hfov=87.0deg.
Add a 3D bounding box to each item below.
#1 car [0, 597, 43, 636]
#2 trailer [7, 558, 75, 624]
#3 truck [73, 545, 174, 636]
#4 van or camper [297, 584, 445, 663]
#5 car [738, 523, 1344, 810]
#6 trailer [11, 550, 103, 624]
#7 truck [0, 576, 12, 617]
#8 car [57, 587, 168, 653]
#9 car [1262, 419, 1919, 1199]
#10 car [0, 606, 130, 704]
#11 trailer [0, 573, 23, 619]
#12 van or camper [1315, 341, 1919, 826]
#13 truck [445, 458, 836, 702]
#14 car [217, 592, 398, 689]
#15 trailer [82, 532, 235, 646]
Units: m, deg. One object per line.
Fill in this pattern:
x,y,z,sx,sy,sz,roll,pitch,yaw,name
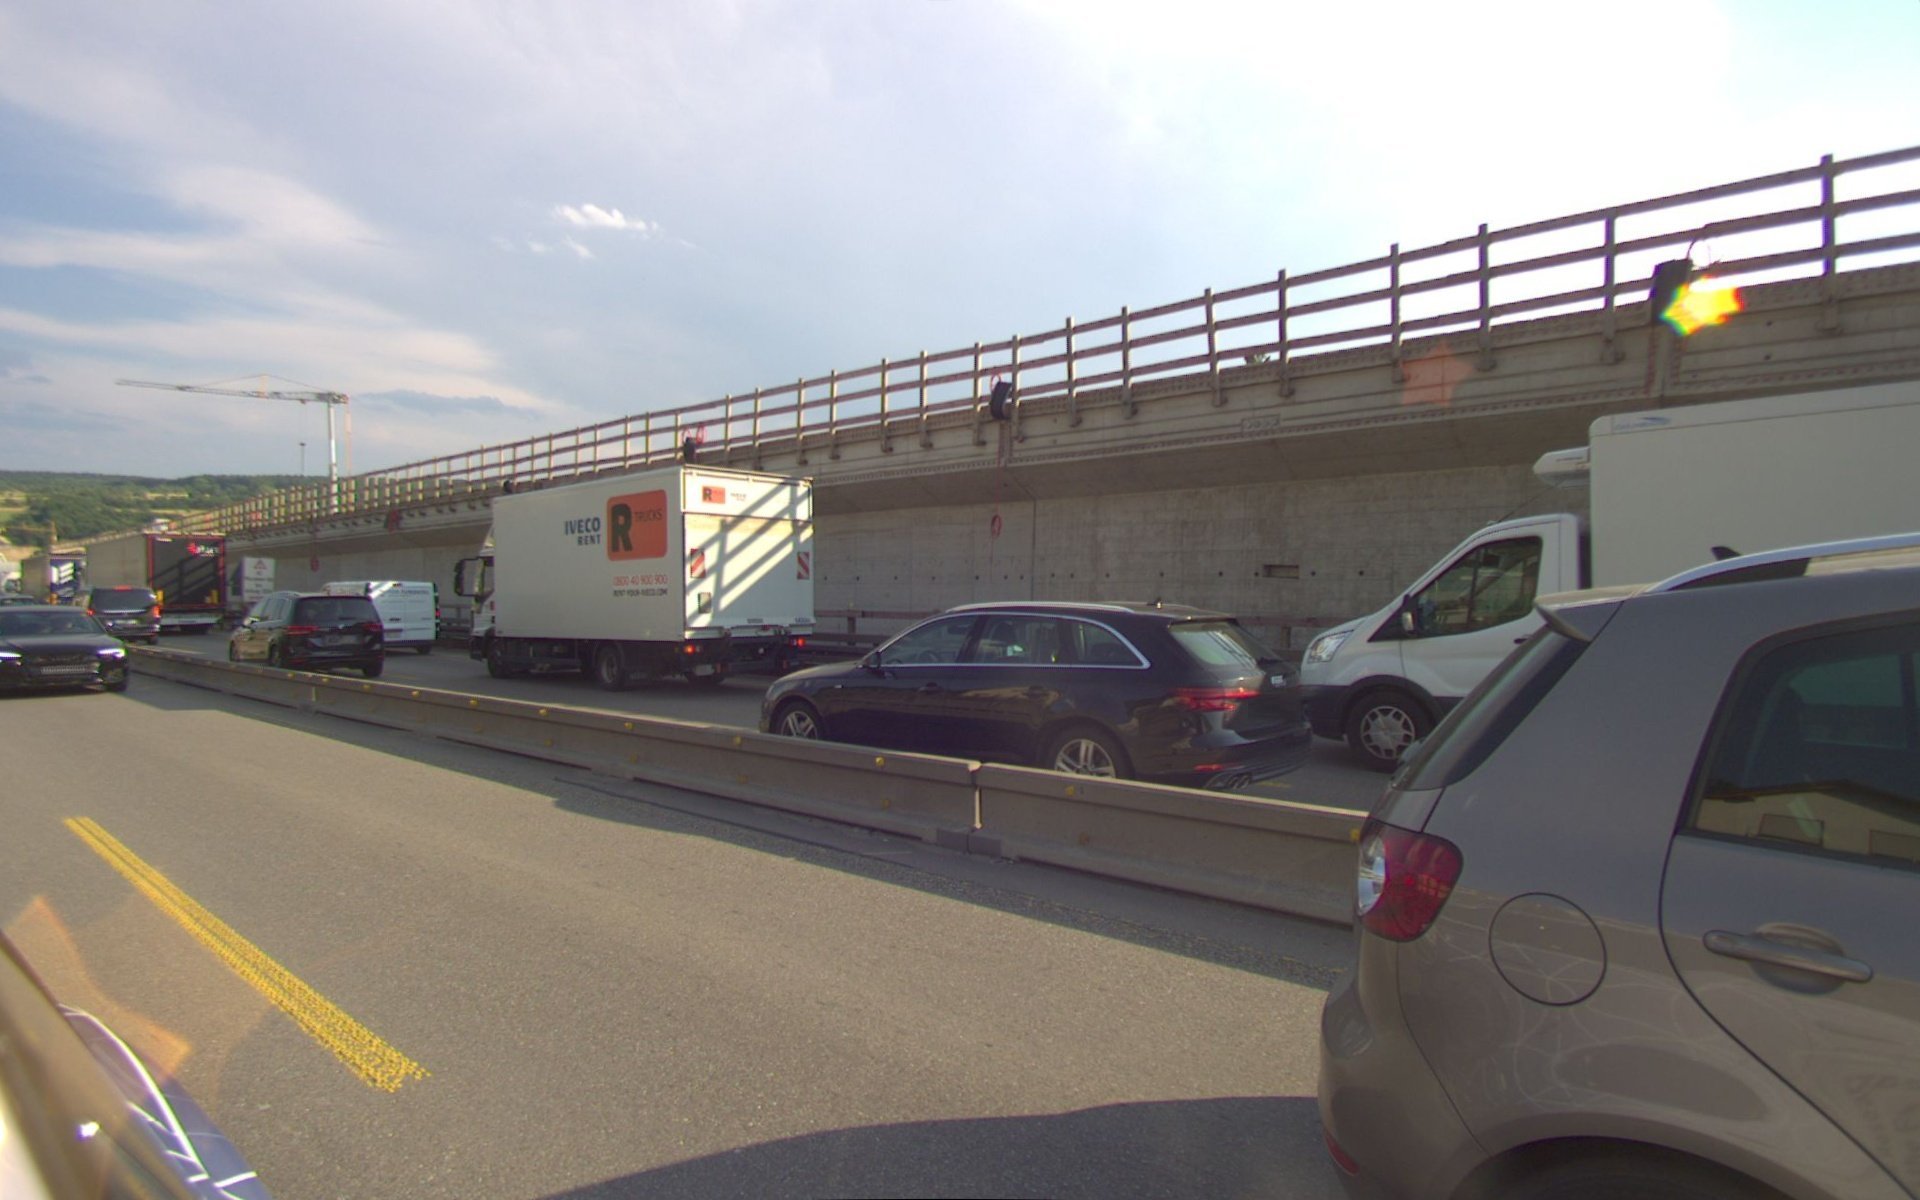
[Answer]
-47.535,0.801,50.791,5.141,1.785,1.802,1,2,43,car
-61.696,-0.570,67.920,5.974,4.172,2.735,-1,0,42,trailer
-39.972,-0.481,48.317,5.656,4.038,2.831,1,2,41,truck
-15.951,0.571,27.310,4.919,1.937,1.898,0,1,40,van or camper
0.379,0.335,7.823,4.556,1.607,1.723,1,2,41,car
-56.734,-0.679,63.415,14.021,4.172,2.735,-1,0,42,trailer
-82.867,-0.318,86.192,5.530,3.435,2.522,1,2,42,truck
-27.727,0.596,33.029,5.288,1.937,1.964,0,2,41,car
2.696,0.566,1.057,4.270,1.600,1.663,-1,-2,42,car
-15.743,0.844,17.248,4.348,1.430,1.848,0,1,42,car
-78.150,-0.351,81.877,10.680,3.553,2.529,1,2,42,trailer
6.177,-0.099,7.605,6.220,3.012,2.296,1,0,41,van or camper
-5.999,-0.278,18.005,8.137,3.450,2.686,1,-2,41,truck
-13.004,0.693,20.055,4.687,1.657,1.813,1,2,41,car
-34.845,-0.502,43.679,13.766,4.271,2.882,1,2,42,trailer
